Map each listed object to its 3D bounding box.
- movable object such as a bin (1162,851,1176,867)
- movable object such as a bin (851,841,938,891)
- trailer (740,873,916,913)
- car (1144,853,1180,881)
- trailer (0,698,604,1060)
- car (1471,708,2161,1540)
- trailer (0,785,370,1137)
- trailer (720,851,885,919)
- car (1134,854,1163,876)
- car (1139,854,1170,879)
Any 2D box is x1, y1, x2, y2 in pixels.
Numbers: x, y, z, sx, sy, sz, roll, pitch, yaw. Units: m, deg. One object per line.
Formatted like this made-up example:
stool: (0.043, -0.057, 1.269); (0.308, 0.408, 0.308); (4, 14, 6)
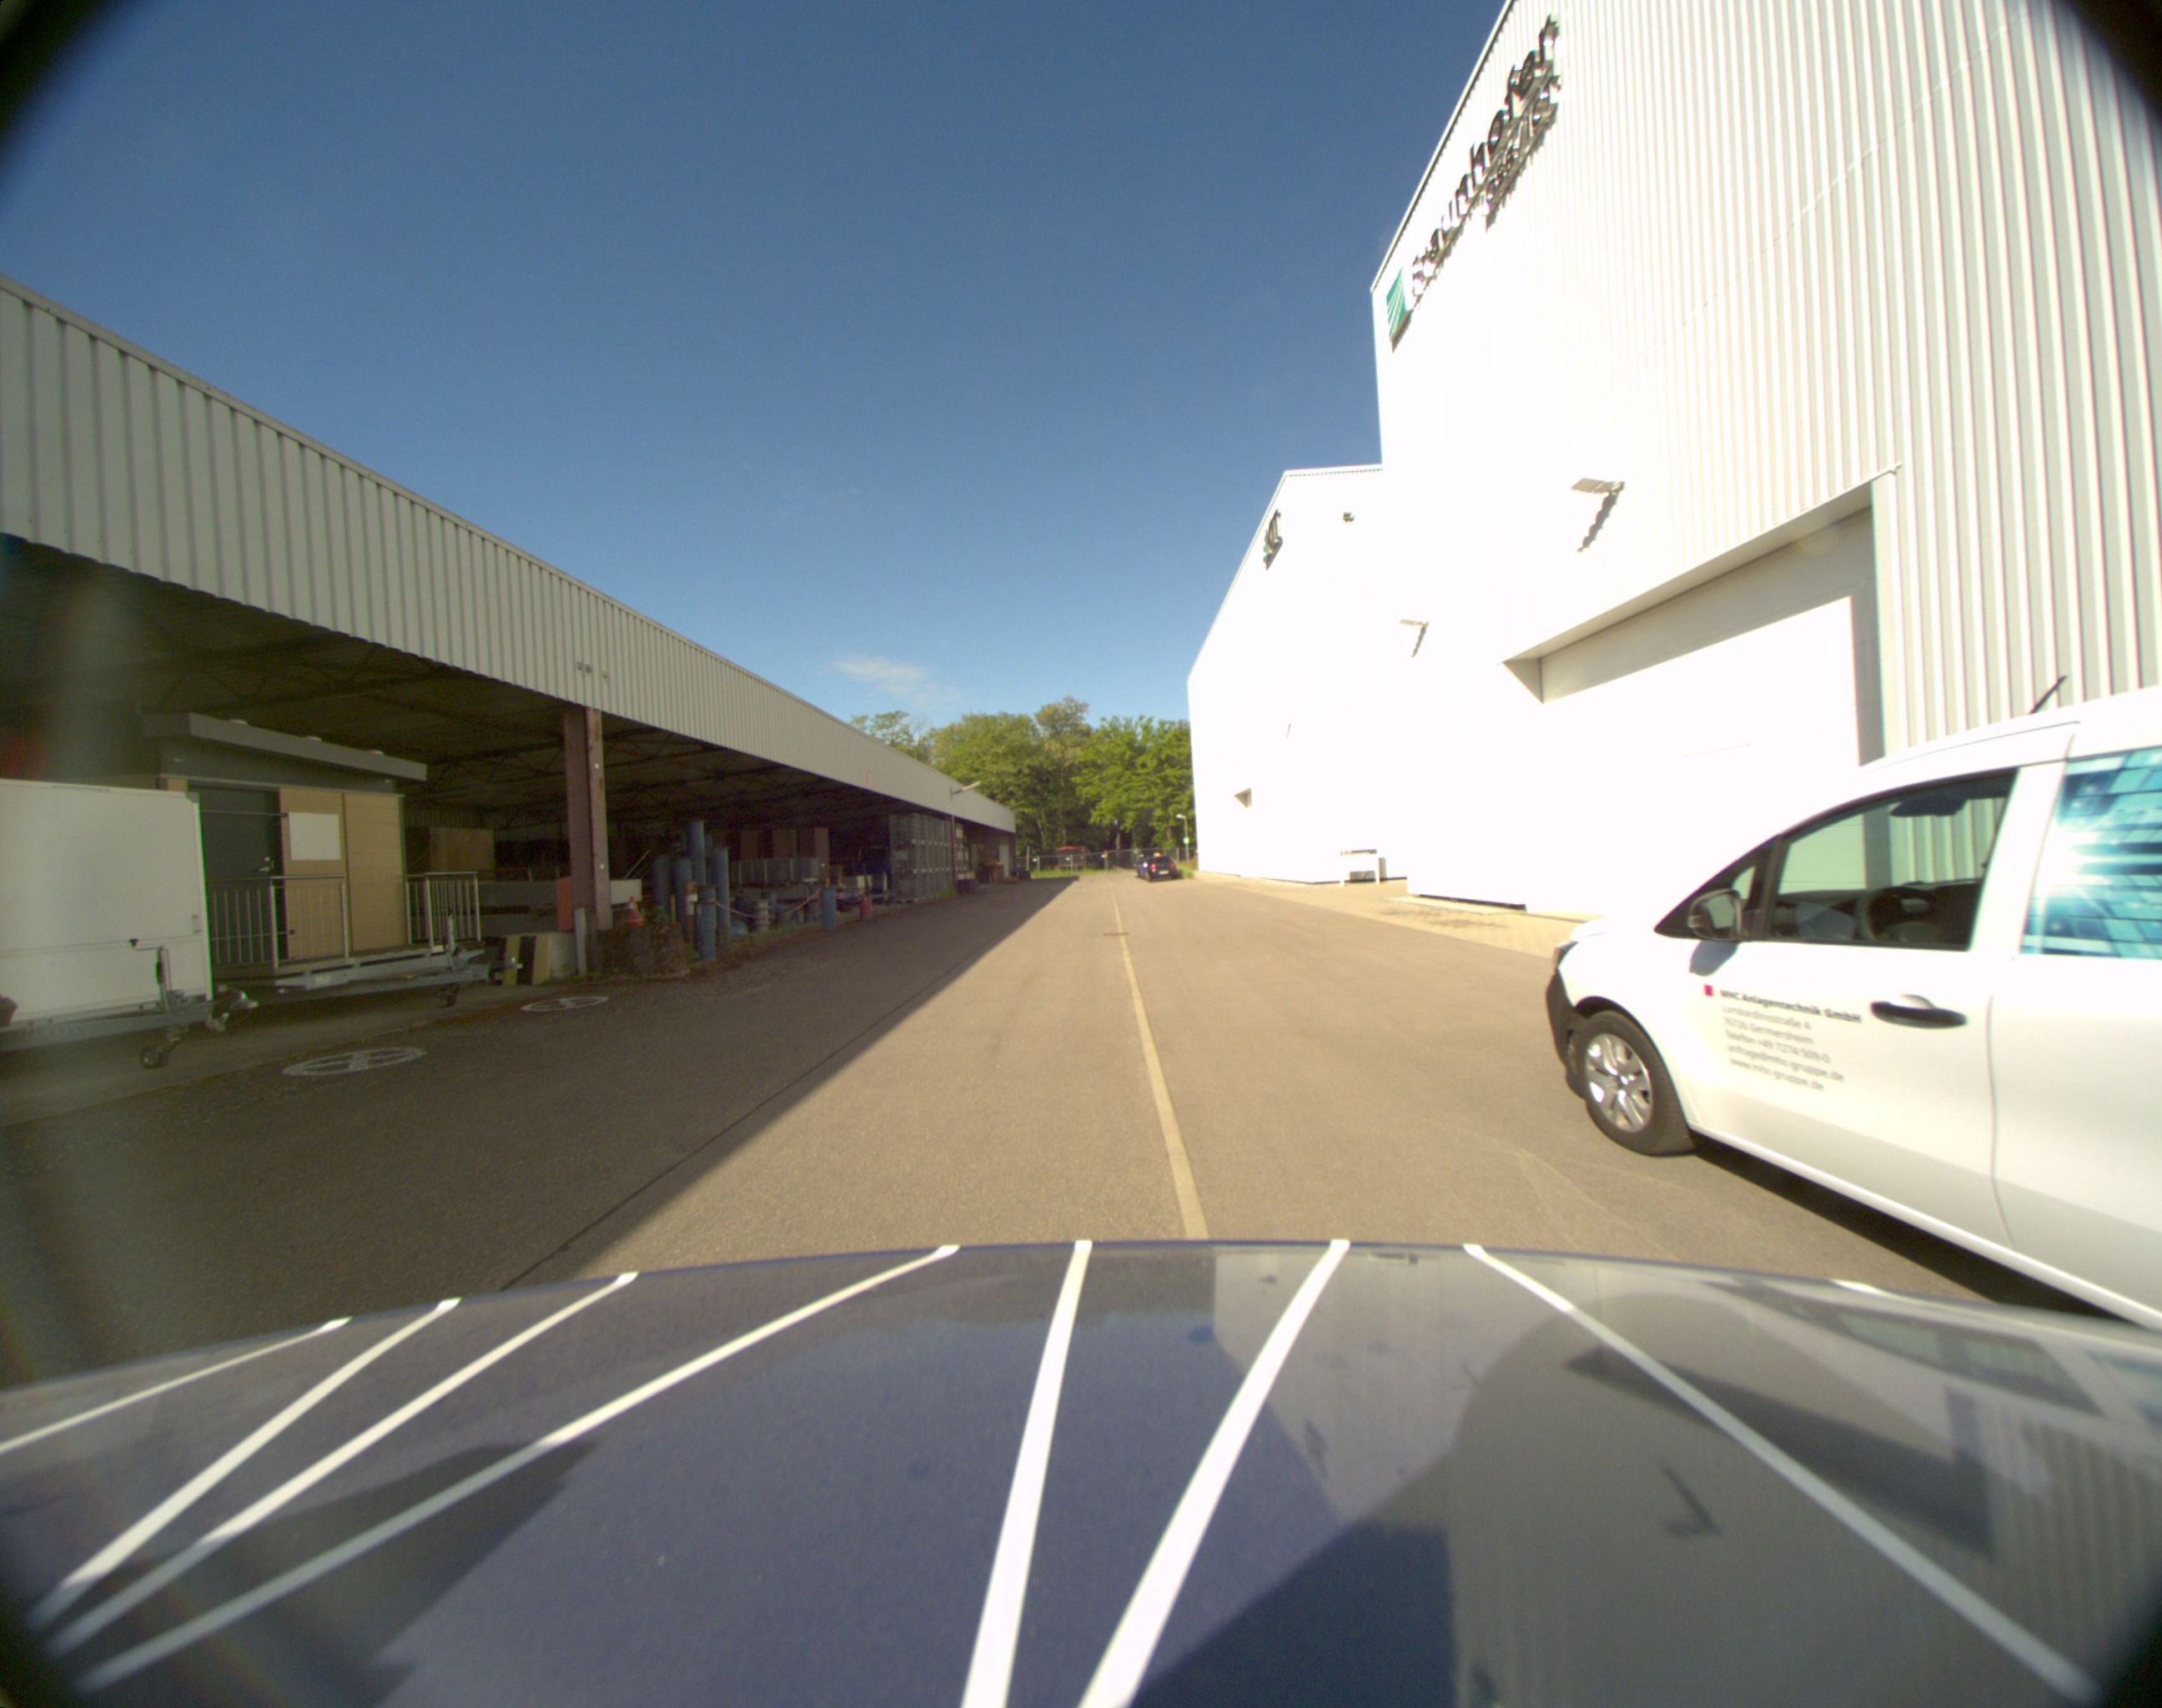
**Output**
movable object such as a bin: (8.243, 0.442, 70.967); (1.140, 1.426, 1.289); (-2, 0, 2)
movable object such as a bin: (-11.302, 0.715, 46.263); (4.537, 2.814, 2.498); (-2, 0, 2)
trailer: (-9.166, 1.396, 27.844); (5.742, 1.178, 1.974); (-2, 1, 1)
car: (4.760, 0.775, 45.052); (1.760, 1.437, 4.315); (-5, -1, 2)
trailer: (-11.494, 0.354, 8.726); (10.292, 3.323, 2.801); (-2, 0, 2)
car: (3.196, 0.524, 2.168); (1.788, 1.805, 4.601); (-5, 0, 2)
trailer: (-8.976, 0.767, 6.151); (4.526, 2.328, 2.047); (-2, 1, 3)
trailer: (-8.873, 0.963, 24.490); (4.433, 1.979, 2.163); (-2, 1, 3)
car: (4.881, 0.799, 55.310); (1.715, 1.440, 3.798); (-5, -1, 0)
car: (4.770, 0.808, 49.799); (1.551, 1.479, 3.522); (-5, -1, 0)
